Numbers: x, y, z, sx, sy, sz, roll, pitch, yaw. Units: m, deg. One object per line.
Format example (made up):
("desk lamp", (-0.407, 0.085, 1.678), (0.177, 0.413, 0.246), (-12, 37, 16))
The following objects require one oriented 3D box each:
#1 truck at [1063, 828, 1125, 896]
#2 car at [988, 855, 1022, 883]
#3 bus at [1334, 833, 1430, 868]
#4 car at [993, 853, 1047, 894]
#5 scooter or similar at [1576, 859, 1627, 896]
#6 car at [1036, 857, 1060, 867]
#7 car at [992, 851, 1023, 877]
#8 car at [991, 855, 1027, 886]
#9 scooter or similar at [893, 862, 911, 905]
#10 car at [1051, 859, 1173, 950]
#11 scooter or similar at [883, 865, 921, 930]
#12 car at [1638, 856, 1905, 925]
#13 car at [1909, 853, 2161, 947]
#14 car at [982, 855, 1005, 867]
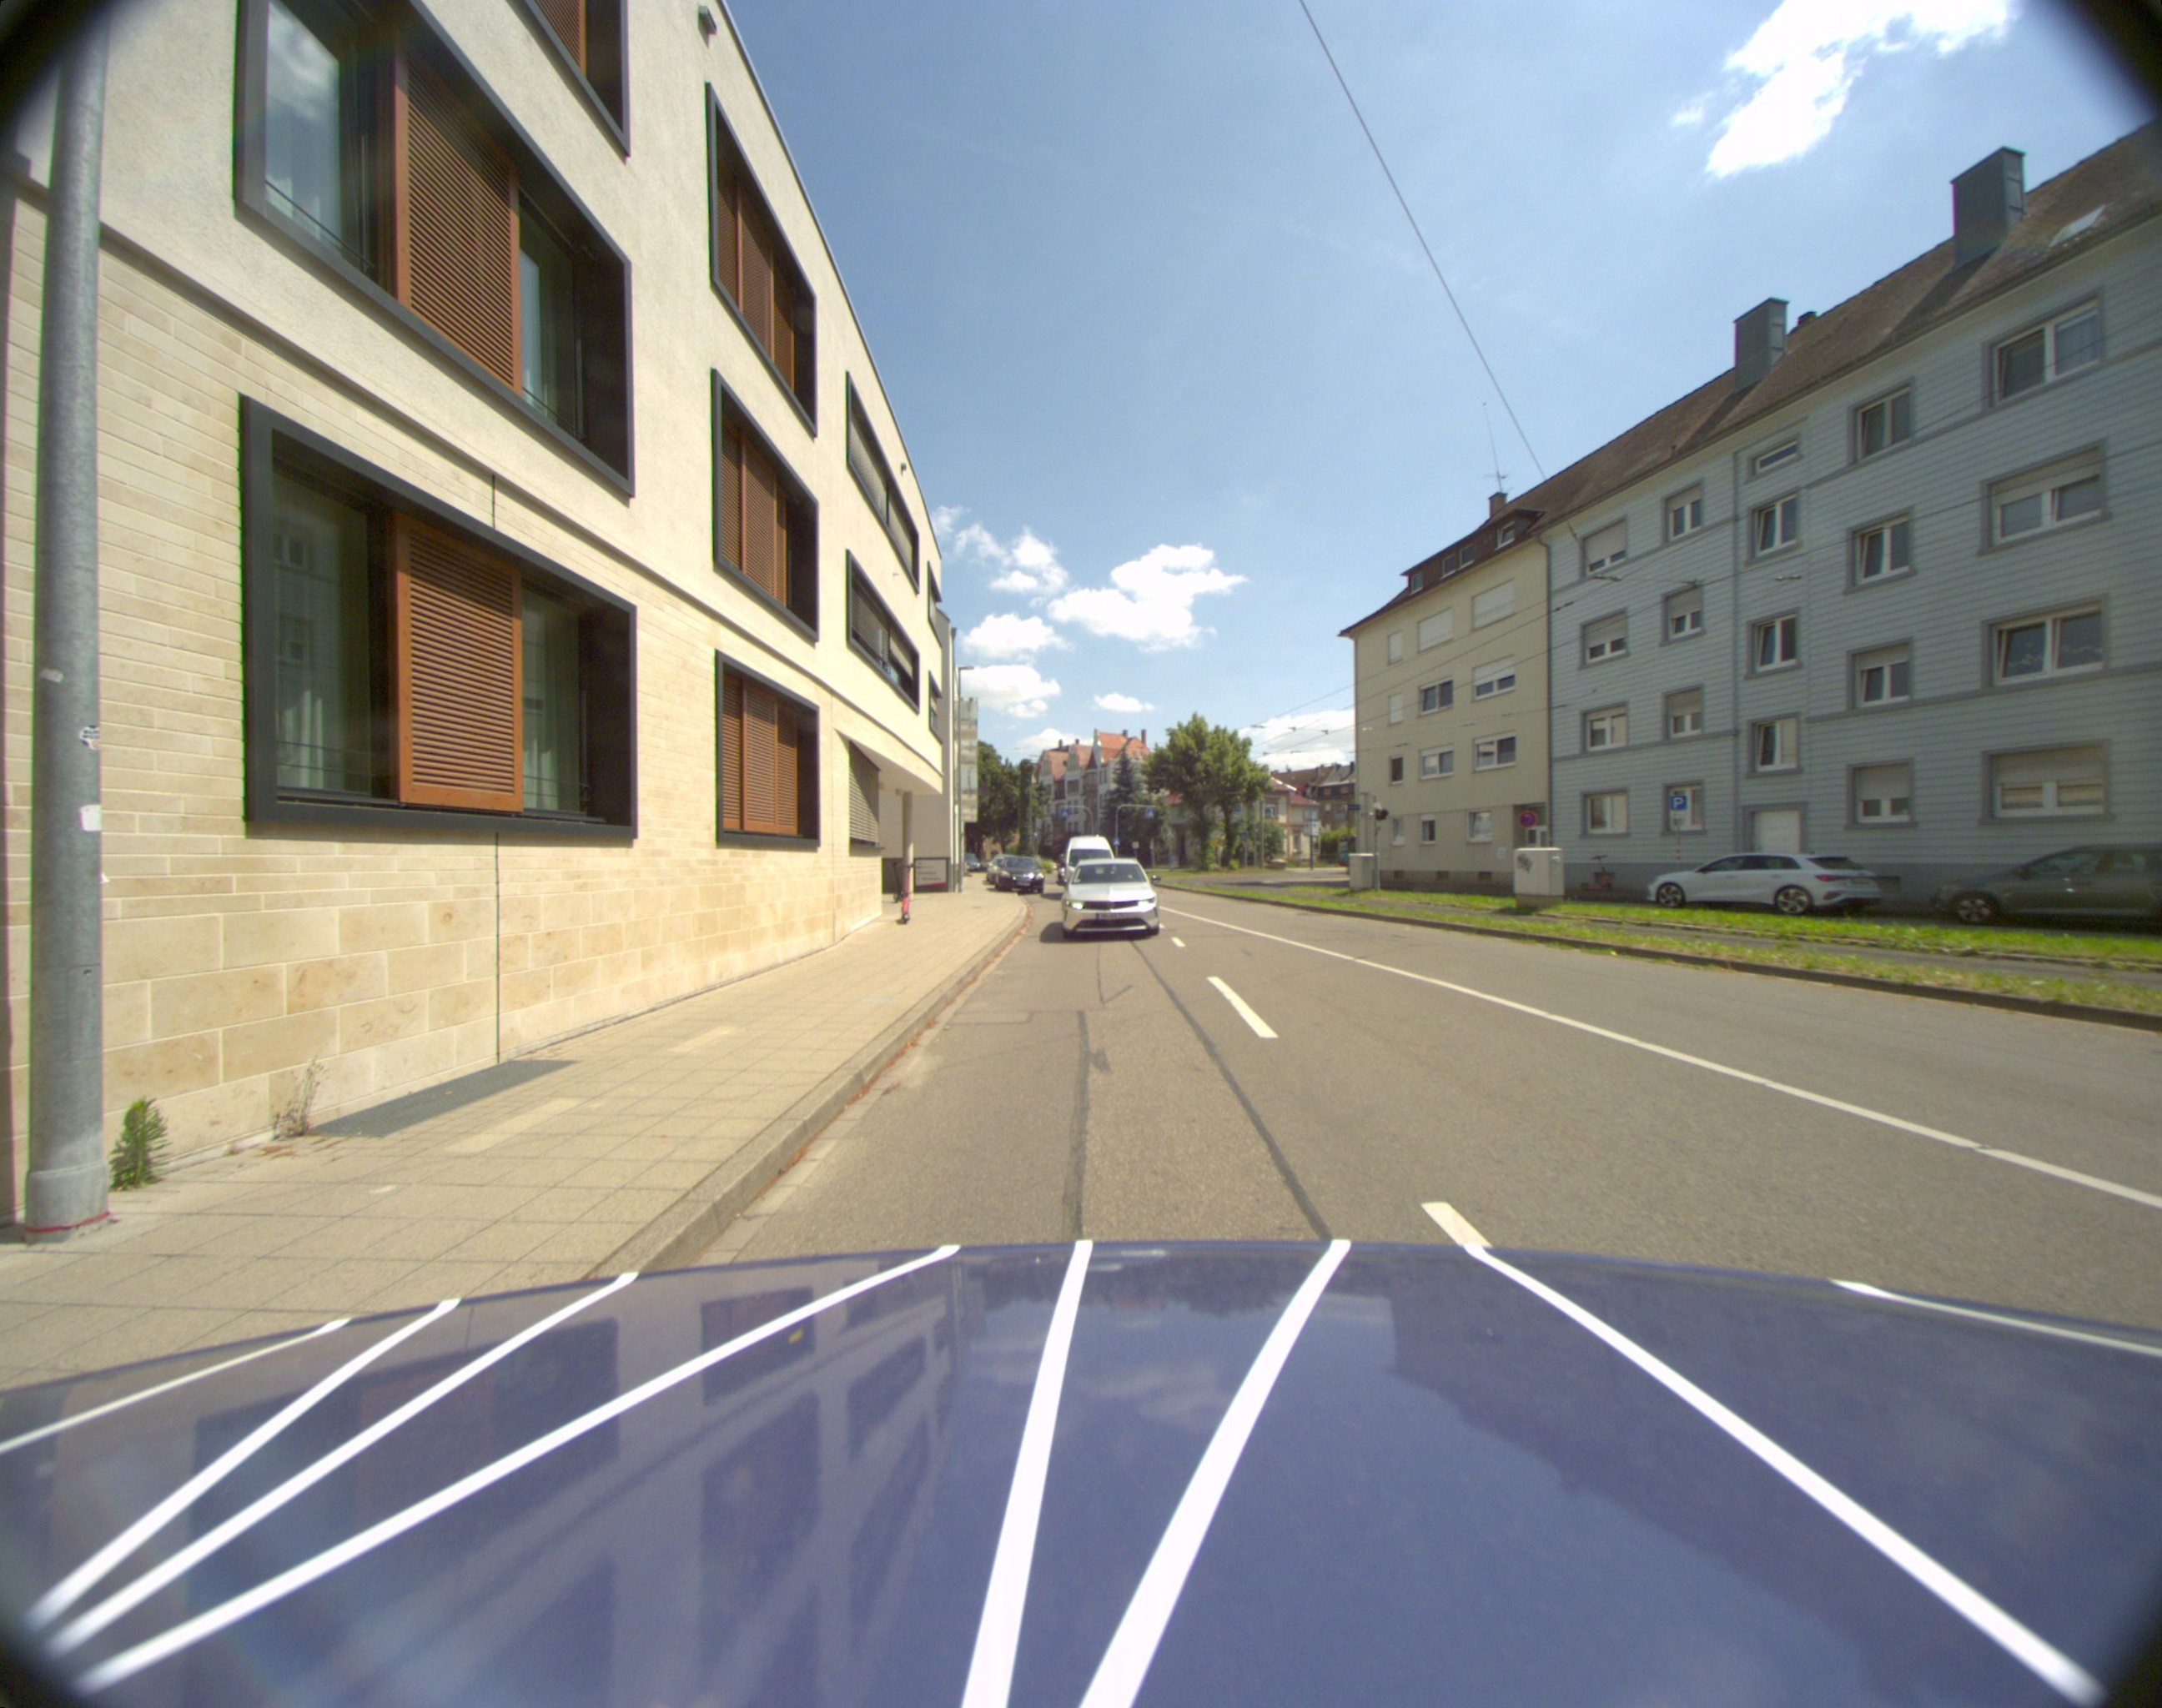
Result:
("truck", (0.403, 0.229, 28.125), (2.020, 2.236, 5.406), (-1, 1, -1))
("car", (-4.344, 0.844, 43.947), (1.732, 1.425, 4.040), (3, 0, -4))
("bus", (29.900, -0.284, 75.306), (10.877, 3.277, 2.702), (0, -1, -31))
("car", (-2.646, 0.769, 32.185), (1.806, 1.500, 4.543), (3, 0, -10))
("scooter or similar", (17.770, 0.790, 25.969), (0.640, 1.216, 1.319), (-2, 1, -13))
("car", (-4.261, 1.020, 97.558), (1.821, 1.319, 3.992), (0, 0, -24))
("car", (-4.970, 0.650, 51.628), (1.731, 1.601, 3.799), (2, 1, -1))
("car", (-3.741, 0.804, 38.975), (1.598, 1.425, 3.703), (3, 0, -8))
("scooter or similar", (-5.286, 0.858, 22.510), (0.423, 1.204, 1.314), (0, 0, -9))
("car", (0.772, 0.896, 15.196), (1.799, 1.457, 4.174), (-2, 0, 11))
("scooter or similar", (-3.644, 0.862, 15.542), (0.583, 1.253, 1.366), (1, 0, -7))
("car", (16.241, 0.797, 18.235), (1.935, 1.443, 4.370), (2, -1, -15))
("car", (17.768, 0.740, 13.102), (1.935, 1.496, 4.320), (1, 0, -15))
("car", (-13.427, 1.067, 116.720), (1.779, 1.604, 3.865), (6, -3, -35))
